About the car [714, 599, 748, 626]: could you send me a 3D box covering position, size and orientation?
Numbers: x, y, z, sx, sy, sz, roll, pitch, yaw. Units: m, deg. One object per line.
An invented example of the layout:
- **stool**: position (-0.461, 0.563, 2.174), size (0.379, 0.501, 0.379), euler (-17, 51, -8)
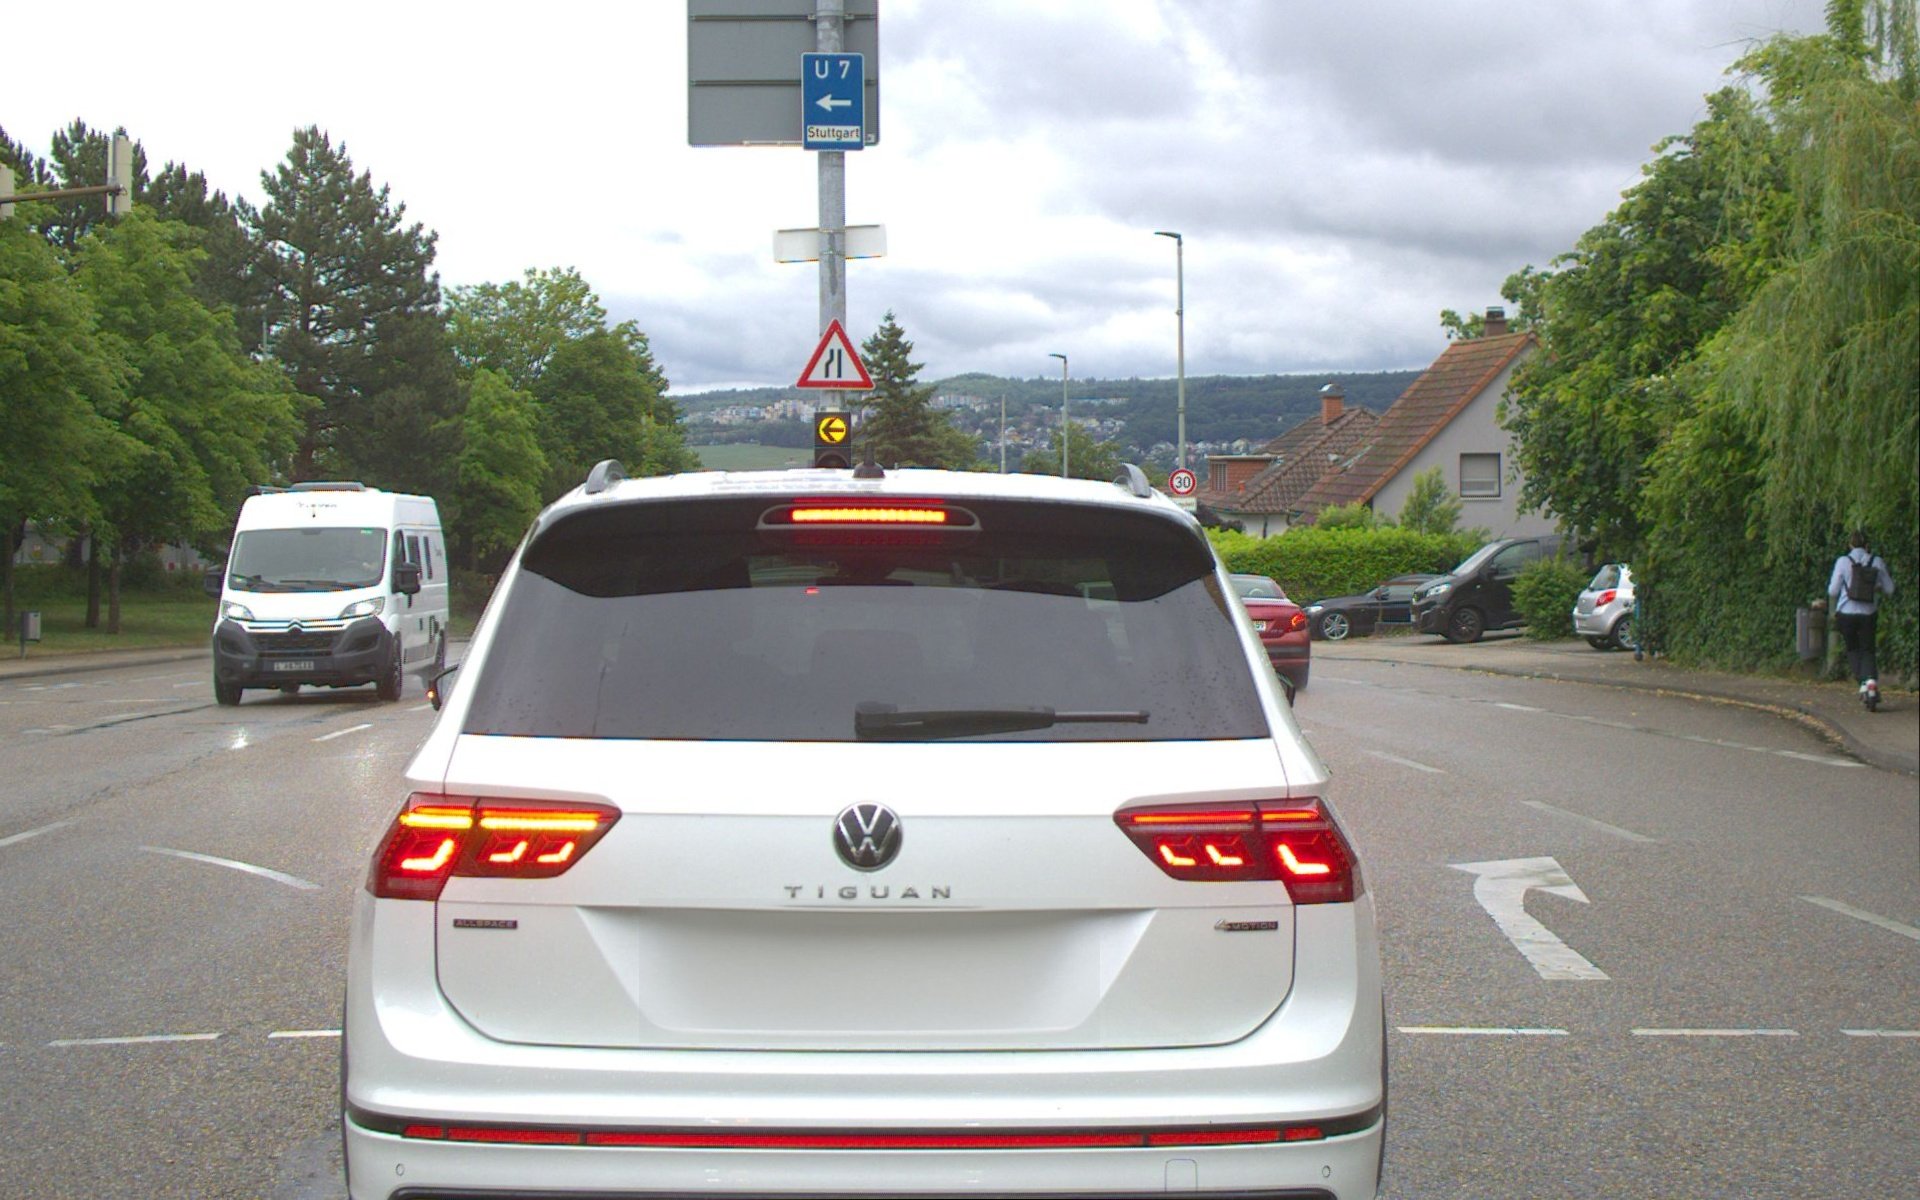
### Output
- **car**: position (-15.343, 0.826, 230.063), size (1.993, 1.722, 4.000), euler (2, 1, -1)

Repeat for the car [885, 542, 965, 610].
- **car**: position (-0.857, -0.600, 82.520), size (1.735, 1.569, 4.069), euler (1, 1, -3)

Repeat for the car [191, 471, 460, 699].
- **car**: position (-7.490, -0.227, 41.196), size (2.297, 2.519, 5.774), euler (0, 1, -2)

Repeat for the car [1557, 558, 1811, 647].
- **car**: position (11.880, 0.048, 56.518), size (3.713, 1.390, 1.729), euler (-1, 0, -7)

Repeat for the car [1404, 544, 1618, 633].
- **car**: position (10.270, -0.218, 64.265), size (3.627, 1.620, 1.792), euler (0, 2, -4)

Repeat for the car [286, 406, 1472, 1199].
- **car**: position (-0.183, 0.543, 7.360), size (1.763, 1.690, 4.273), euler (2, 1, -1)

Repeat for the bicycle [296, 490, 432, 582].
- **bicycle**: position (-7.675, -0.828, 44.300), size (1.636, 1.122, 0.468), euler (-2, 2, -2)

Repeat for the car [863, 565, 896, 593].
- **car**: position (-4.718, -1.253, 201.038), size (1.850, 1.569, 4.000), euler (-1, 1, 0)

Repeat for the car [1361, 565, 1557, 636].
- **car**: position (10.021, 0.017, 69.190), size (3.687, 1.365, 1.519), euler (1, -1, -2)

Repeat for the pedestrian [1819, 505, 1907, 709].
- **pedestrian**: position (8.948, 0.062, 34.082), size (0.655, 1.995, 0.718), euler (0, 1, -4)

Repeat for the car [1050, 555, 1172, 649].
- **car**: position (2.442, 0.011, 56.442), size (1.664, 1.422, 4.305), euler (1, 1, -2)

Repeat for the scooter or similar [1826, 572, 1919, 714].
- **scooter or similar**: position (8.952, 0.411, 33.765), size (0.461, 1.356, 1.385), euler (0, 1, -4)

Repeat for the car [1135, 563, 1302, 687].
- **car**: position (3.144, 0.275, 42.447), size (1.625, 1.398, 3.690), euler (1, 1, -2)

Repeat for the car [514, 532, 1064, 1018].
- **car**: position (-0.572, 0.547, 13.300), size (1.798, 1.584, 3.926), euler (1, 1, 0)

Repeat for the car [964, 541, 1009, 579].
- **car**: position (1.118, -1.690, 145.766), size (1.850, 1.569, 4.000), euler (-1, 1, 0)

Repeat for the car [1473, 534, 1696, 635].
- **car**: position (11.221, -0.292, 61.891), size (3.627, 1.740, 1.708), euler (0, 2, -4)
